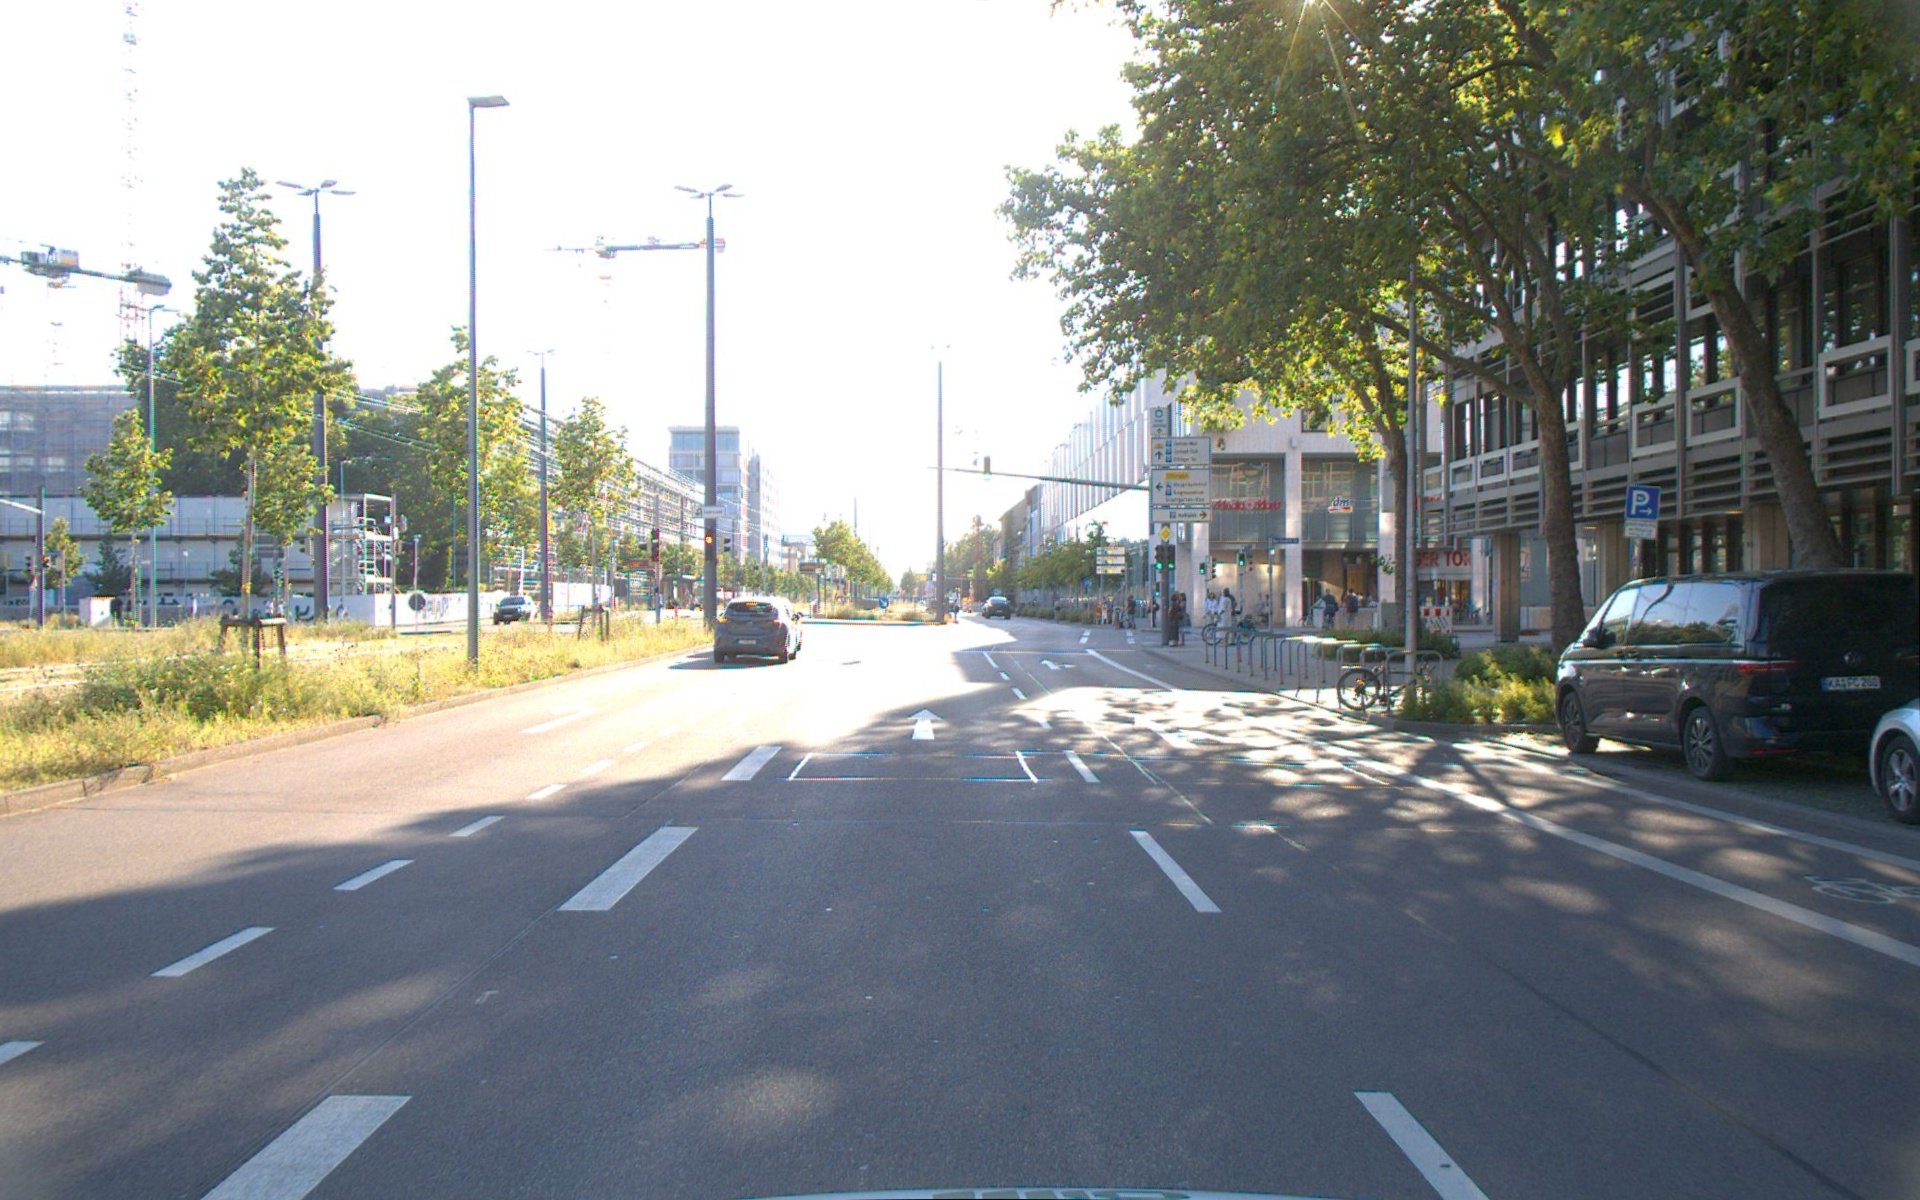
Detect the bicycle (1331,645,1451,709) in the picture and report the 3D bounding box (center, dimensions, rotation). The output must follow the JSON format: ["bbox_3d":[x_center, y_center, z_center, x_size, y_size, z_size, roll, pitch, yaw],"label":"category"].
[{"bbox_3d":[6.459,1.148,24.843,1.656,0.882,0.573,-2,0,7],"label":"bicycle"}]

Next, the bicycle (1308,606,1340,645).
[{"bbox_3d":[12.142,0.852,55.150,0.580,1.253,2.154,0,0,0],"label":"bicycle"}]

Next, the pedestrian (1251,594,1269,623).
[{"bbox_3d":[17.105,0.462,94.193,0.852,1.613,0.825,-2,0,2],"label":"pedestrian"}]

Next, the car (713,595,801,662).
[{"bbox_3d":[-4.675,0.628,38.603,1.741,1.453,3.998,1,0,-3],"label":"car"}]

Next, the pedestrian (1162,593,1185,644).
[{"bbox_3d":[6.935,0.607,53.853,0.621,1.636,0.570,-2,0,-1],"label":"pedestrian"}]

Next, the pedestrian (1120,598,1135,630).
[{"bbox_3d":[9.298,0.785,91.798,0.800,1.765,0.790,0,0,2],"label":"pedestrian"}]

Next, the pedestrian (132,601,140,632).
[{"bbox_3d":[-39.894,0.783,80.065,0.268,1.490,0.316,0,0,-5],"label":"pedestrian"}]

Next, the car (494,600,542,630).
[{"bbox_3d":[-27.096,0.889,101.550,1.953,1.807,3.999,0,0,-1],"label":"car"}]

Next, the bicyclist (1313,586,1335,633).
[{"bbox_3d":[12.144,0.323,55.215,0.566,1.549,0.749,0,0,0],"label":"bicyclist"}]

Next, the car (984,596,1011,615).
[{"bbox_3d":[3.085,0.439,136.667,1.901,1.453,3.923,0,0,-3],"label":"car"}]

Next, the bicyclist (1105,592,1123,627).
[{"bbox_3d":[7.214,0.422,77.350,0.783,1.630,0.786,0,0,10],"label":"bicyclist"}]

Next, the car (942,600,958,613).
[{"bbox_3d":[-1.188,0.763,194.910,1.724,1.511,3.848,0,0,-3],"label":"car"}]

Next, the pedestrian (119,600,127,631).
[{"bbox_3d":[-40.500,0.765,80.031,0.268,1.490,0.278,0,0,-12],"label":"pedestrian"}]

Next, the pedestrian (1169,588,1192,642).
[{"bbox_3d":[7.256,0.499,54.367,0.621,1.732,0.570,-2,0,-1],"label":"pedestrian"}]

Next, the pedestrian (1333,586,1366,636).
[{"bbox_3d":[13.682,0.387,58.086,0.890,1.733,1.113,0,0,0],"label":"pedestrian"}]

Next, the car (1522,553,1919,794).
[{"bbox_3d":[7.619,0.613,16.917,1.792,2.005,5.320,-2,0,-1],"label":"car"}]

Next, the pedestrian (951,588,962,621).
[{"bbox_3d":[-0.189,0.242,90.668,0.483,1.774,0.446,0,0,-11],"label":"pedestrian"}]

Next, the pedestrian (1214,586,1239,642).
[{"bbox_3d":[8.411,0.445,52.247,0.621,1.732,0.570,-2,0,-1],"label":"pedestrian"}]

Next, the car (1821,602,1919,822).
[{"bbox_3d":[7.645,0.803,10.721,1.646,1.541,5.061,-2,0,3],"label":"car"}]

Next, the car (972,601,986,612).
[{"bbox_3d":[2.488,0.893,220.172,1.669,1.453,3.923,0,0,-3],"label":"car"}]

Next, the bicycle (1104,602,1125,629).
[{"bbox_3d":[7.231,0.731,77.395,0.782,1.225,2.266,0,0,10],"label":"bicycle"}]

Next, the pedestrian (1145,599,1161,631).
[{"bbox_3d":[10.719,0.818,91.741,0.800,1.765,0.790,0,0,2],"label":"pedestrian"}]

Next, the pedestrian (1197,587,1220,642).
[{"bbox_3d":[9.638,0.573,64.155,0.750,2.096,0.797,-2,0,5],"label":"pedestrian"}]

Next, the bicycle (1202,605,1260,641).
[{"bbox_3d":[8.734,0.734,53.363,1.766,1.105,0.479,-2,0,0],"label":"bicycle"}]
